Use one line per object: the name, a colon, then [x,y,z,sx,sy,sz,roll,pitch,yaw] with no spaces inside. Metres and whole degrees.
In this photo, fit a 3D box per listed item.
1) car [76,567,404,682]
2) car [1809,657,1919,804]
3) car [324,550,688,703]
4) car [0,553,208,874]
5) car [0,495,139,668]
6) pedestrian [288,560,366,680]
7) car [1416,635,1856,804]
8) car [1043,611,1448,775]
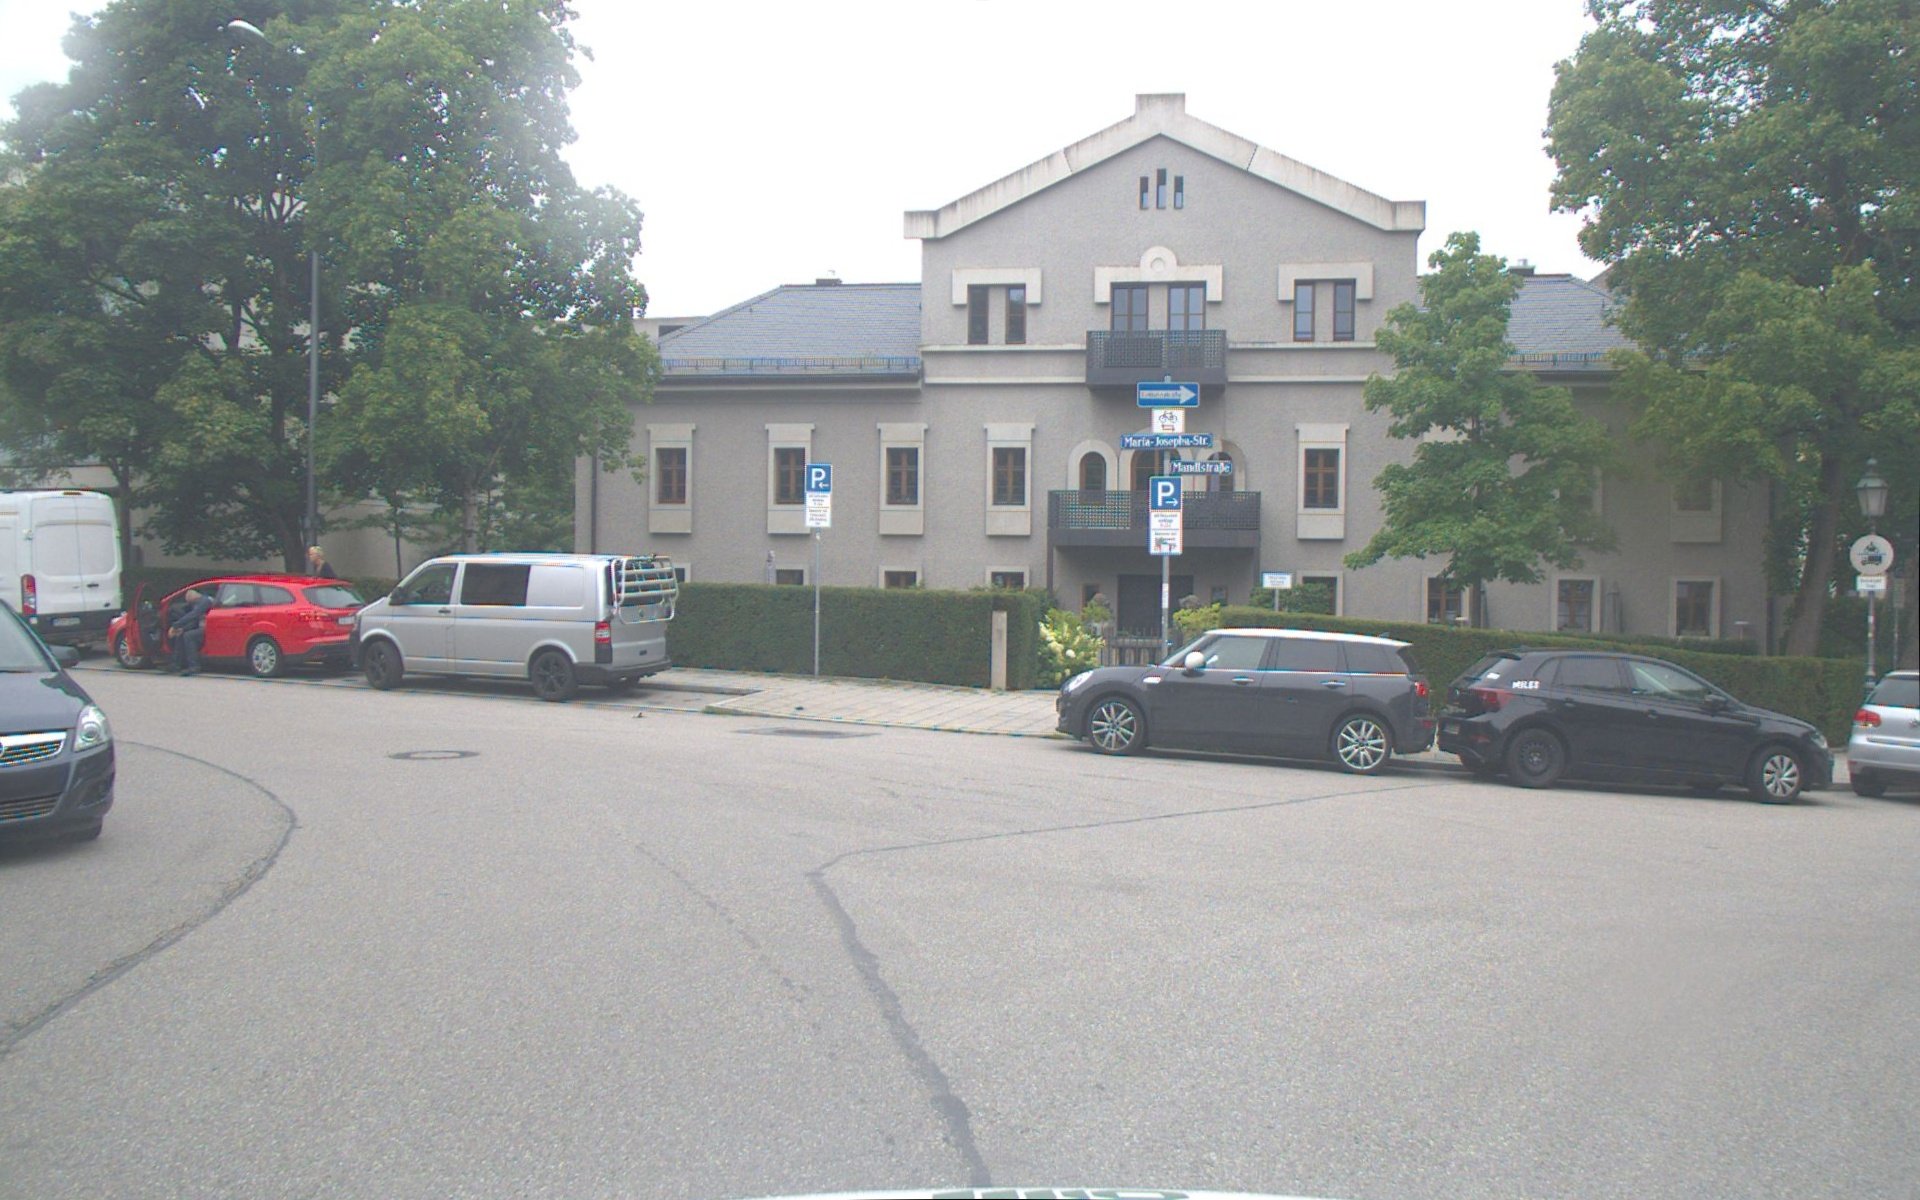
car: [-11.342,0.327,26.108,4.722,1.532,1.878,2,3,19]
car: [11.771,1.531,19.060,3.970,1.471,1.917,4,1,-36]
car: [-6.622,0.298,24.133,4.952,1.937,1.942,2,3,21]
car: [-6.659,0.614,10.361,4.256,1.722,1.989,0,1,41]
car: [-17.082,-0.422,28.067,5.942,2.733,2.087,2,3,19]
pedestrian: [-10.520,0.326,27.507,0.845,1.937,0.797,2,-1,27]
car: [7.159,1.244,17.822,3.920,1.472,1.897,4,-2,0]
car: [3.182,0.992,18.405,4.165,1.472,1.899,3,-1,14]
